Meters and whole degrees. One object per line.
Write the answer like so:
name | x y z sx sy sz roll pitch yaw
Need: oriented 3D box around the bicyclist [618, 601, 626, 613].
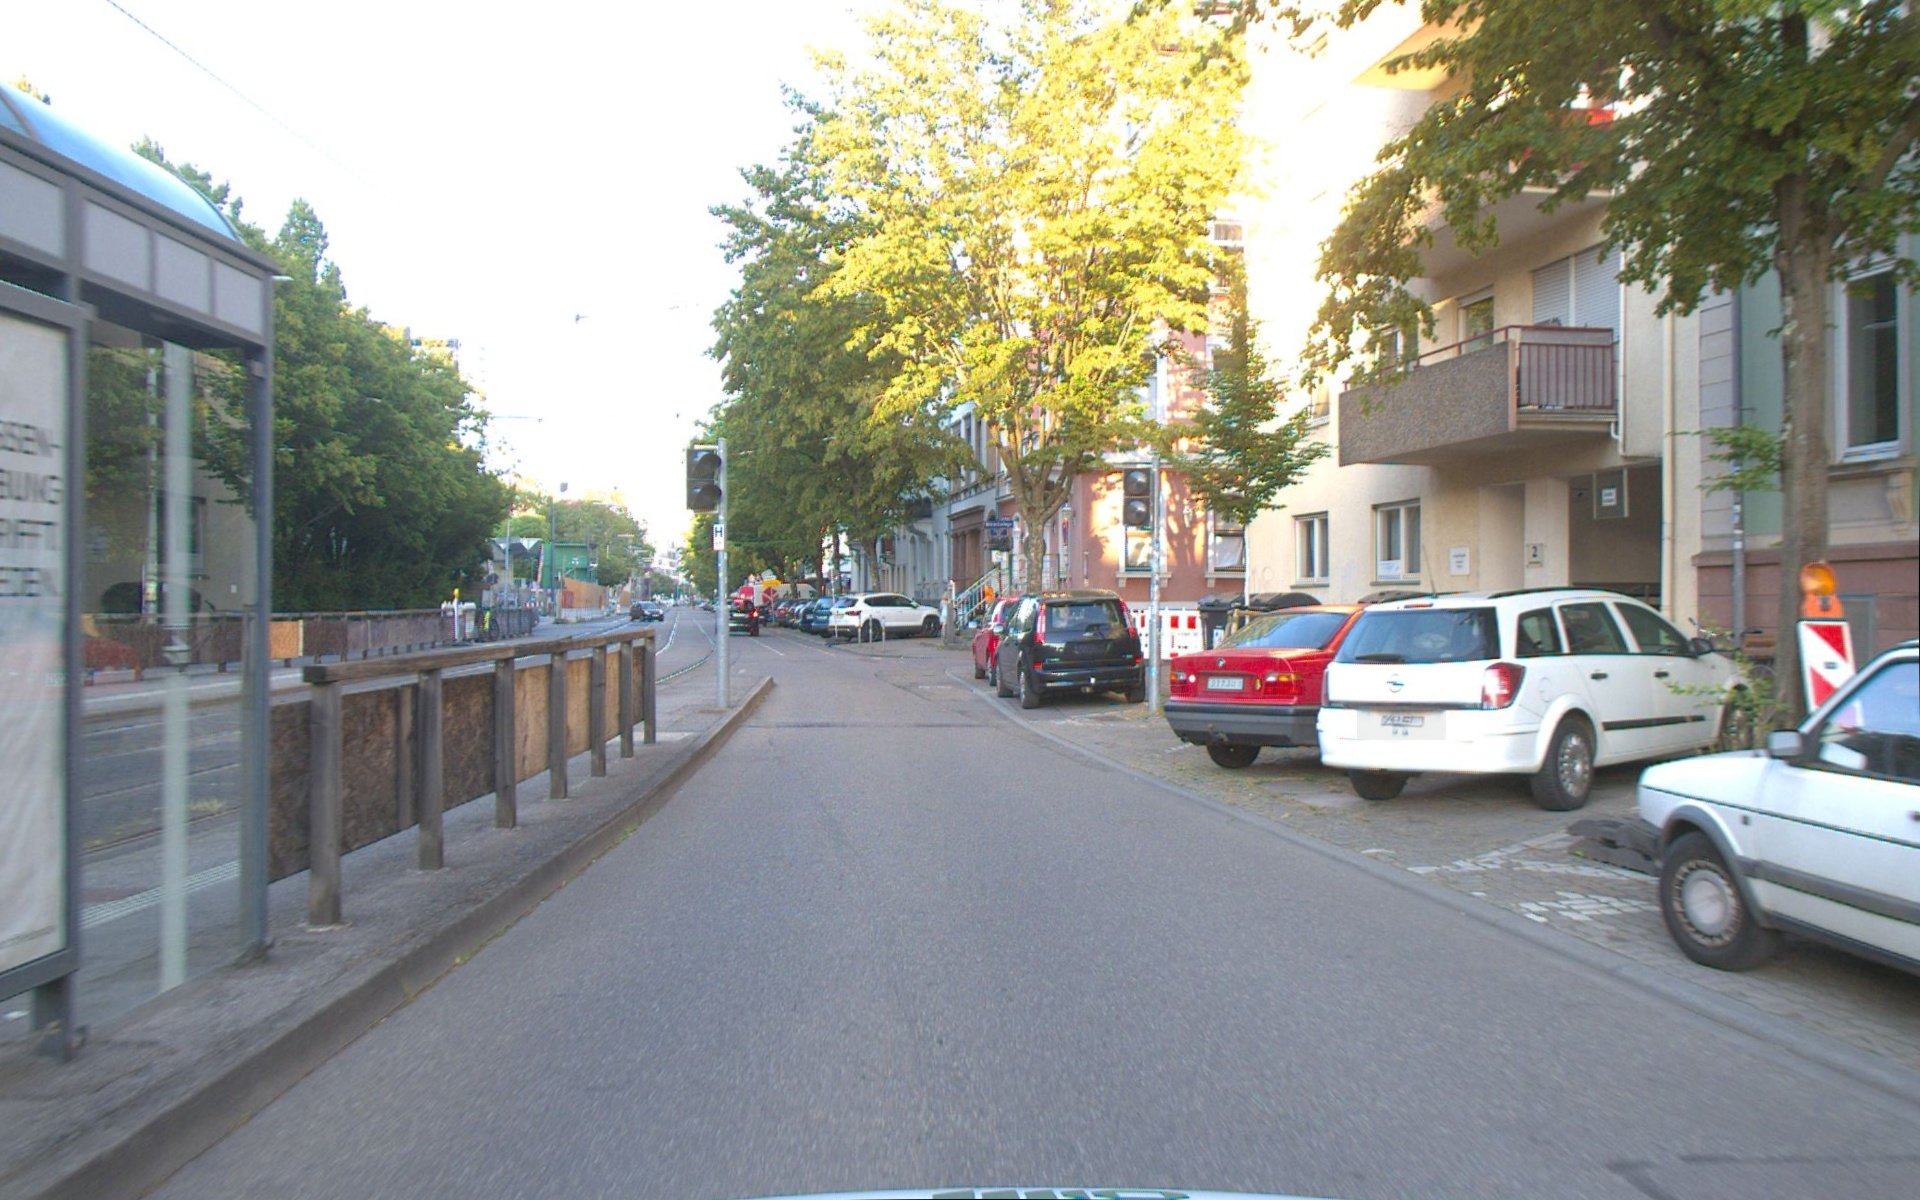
bicyclist | -41.335 0.878 202.226 0.928 1.369 1.108 -1 -1 -13

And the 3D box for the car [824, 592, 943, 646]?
car | -2.609 0.619 57.042 3.919 1.655 1.649 -3 1 -41

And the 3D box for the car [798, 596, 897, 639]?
car | -4.820 0.750 70.938 3.922 1.631 1.812 -2 0 -42

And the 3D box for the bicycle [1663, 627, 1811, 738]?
bicycle | 8.145 0.842 17.396 0.639 1.093 1.552 0 0 -10

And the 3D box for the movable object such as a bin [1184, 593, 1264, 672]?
movable object such as a bin | 5.198 0.625 32.645 1.120 1.528 1.594 0 0 -10

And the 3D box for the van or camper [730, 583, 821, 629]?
van or camper | -11.630 0.373 104.554 5.510 2.574 2.052 -4 0 -45

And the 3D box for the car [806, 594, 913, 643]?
car | -3.911 0.706 64.662 1.869 1.697 3.930 -3 0 43

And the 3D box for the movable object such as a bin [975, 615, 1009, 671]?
movable object such as a bin | 0.681 0.906 34.992 0.697 1.174 0.588 0 0 2

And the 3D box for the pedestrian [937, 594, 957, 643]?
pedestrian | -0.430 0.622 55.440 0.575 1.637 0.623 0 0 -10

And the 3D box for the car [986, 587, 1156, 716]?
car | 1.528 0.696 24.202 1.710 1.660 4.082 -2 0 -7

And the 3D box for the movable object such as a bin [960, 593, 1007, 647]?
movable object such as a bin | 0.665 0.571 47.424 1.120 1.528 1.395 0 0 -10

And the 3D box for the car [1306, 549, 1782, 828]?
car | 4.518 0.565 12.463 4.176 1.755 1.695 0 0 -43

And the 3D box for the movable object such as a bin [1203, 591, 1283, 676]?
movable object such as a bin | 5.190 0.599 30.389 1.053 1.528 1.315 0 0 -12

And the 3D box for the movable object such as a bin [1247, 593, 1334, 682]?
movable object such as a bin | 5.797 0.648 29.058 1.120 1.528 1.267 0 0 -10

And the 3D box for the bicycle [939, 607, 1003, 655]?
bicycle | 0.307 0.837 45.792 1.904 1.288 0.591 0 -1 -45

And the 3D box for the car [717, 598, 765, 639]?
car | -9.460 0.805 71.212 1.848 1.648 3.990 2 -1 -10

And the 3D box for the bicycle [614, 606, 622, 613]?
bicycle | -41.977 1.192 202.851 0.931 0.864 2.688 0 0 -12

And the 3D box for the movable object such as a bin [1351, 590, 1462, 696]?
movable object such as a bin | 6.653 0.619 24.707 1.093 1.528 1.478 0 0 -10

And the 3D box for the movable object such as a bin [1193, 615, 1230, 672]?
movable object such as a bin | 4.773 0.821 31.426 0.544 1.066 0.569 0 0 -11

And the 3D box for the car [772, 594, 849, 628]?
car | -8.413 0.626 93.148 3.913 1.631 1.816 -4 1 -37

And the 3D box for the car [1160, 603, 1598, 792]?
car | 3.852 0.775 14.886 4.165 1.479 1.623 0 0 -37

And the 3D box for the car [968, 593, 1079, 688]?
car | 1.106 0.691 30.133 1.534 1.563 3.689 -2 0 -5

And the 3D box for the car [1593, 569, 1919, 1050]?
car | 4.003 0.682 5.772 1.648 1.579 3.995 -3 0 -6

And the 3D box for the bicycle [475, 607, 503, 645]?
bicycle | -14.175 0.772 49.778 0.453 1.094 2.019 0 0 -5
